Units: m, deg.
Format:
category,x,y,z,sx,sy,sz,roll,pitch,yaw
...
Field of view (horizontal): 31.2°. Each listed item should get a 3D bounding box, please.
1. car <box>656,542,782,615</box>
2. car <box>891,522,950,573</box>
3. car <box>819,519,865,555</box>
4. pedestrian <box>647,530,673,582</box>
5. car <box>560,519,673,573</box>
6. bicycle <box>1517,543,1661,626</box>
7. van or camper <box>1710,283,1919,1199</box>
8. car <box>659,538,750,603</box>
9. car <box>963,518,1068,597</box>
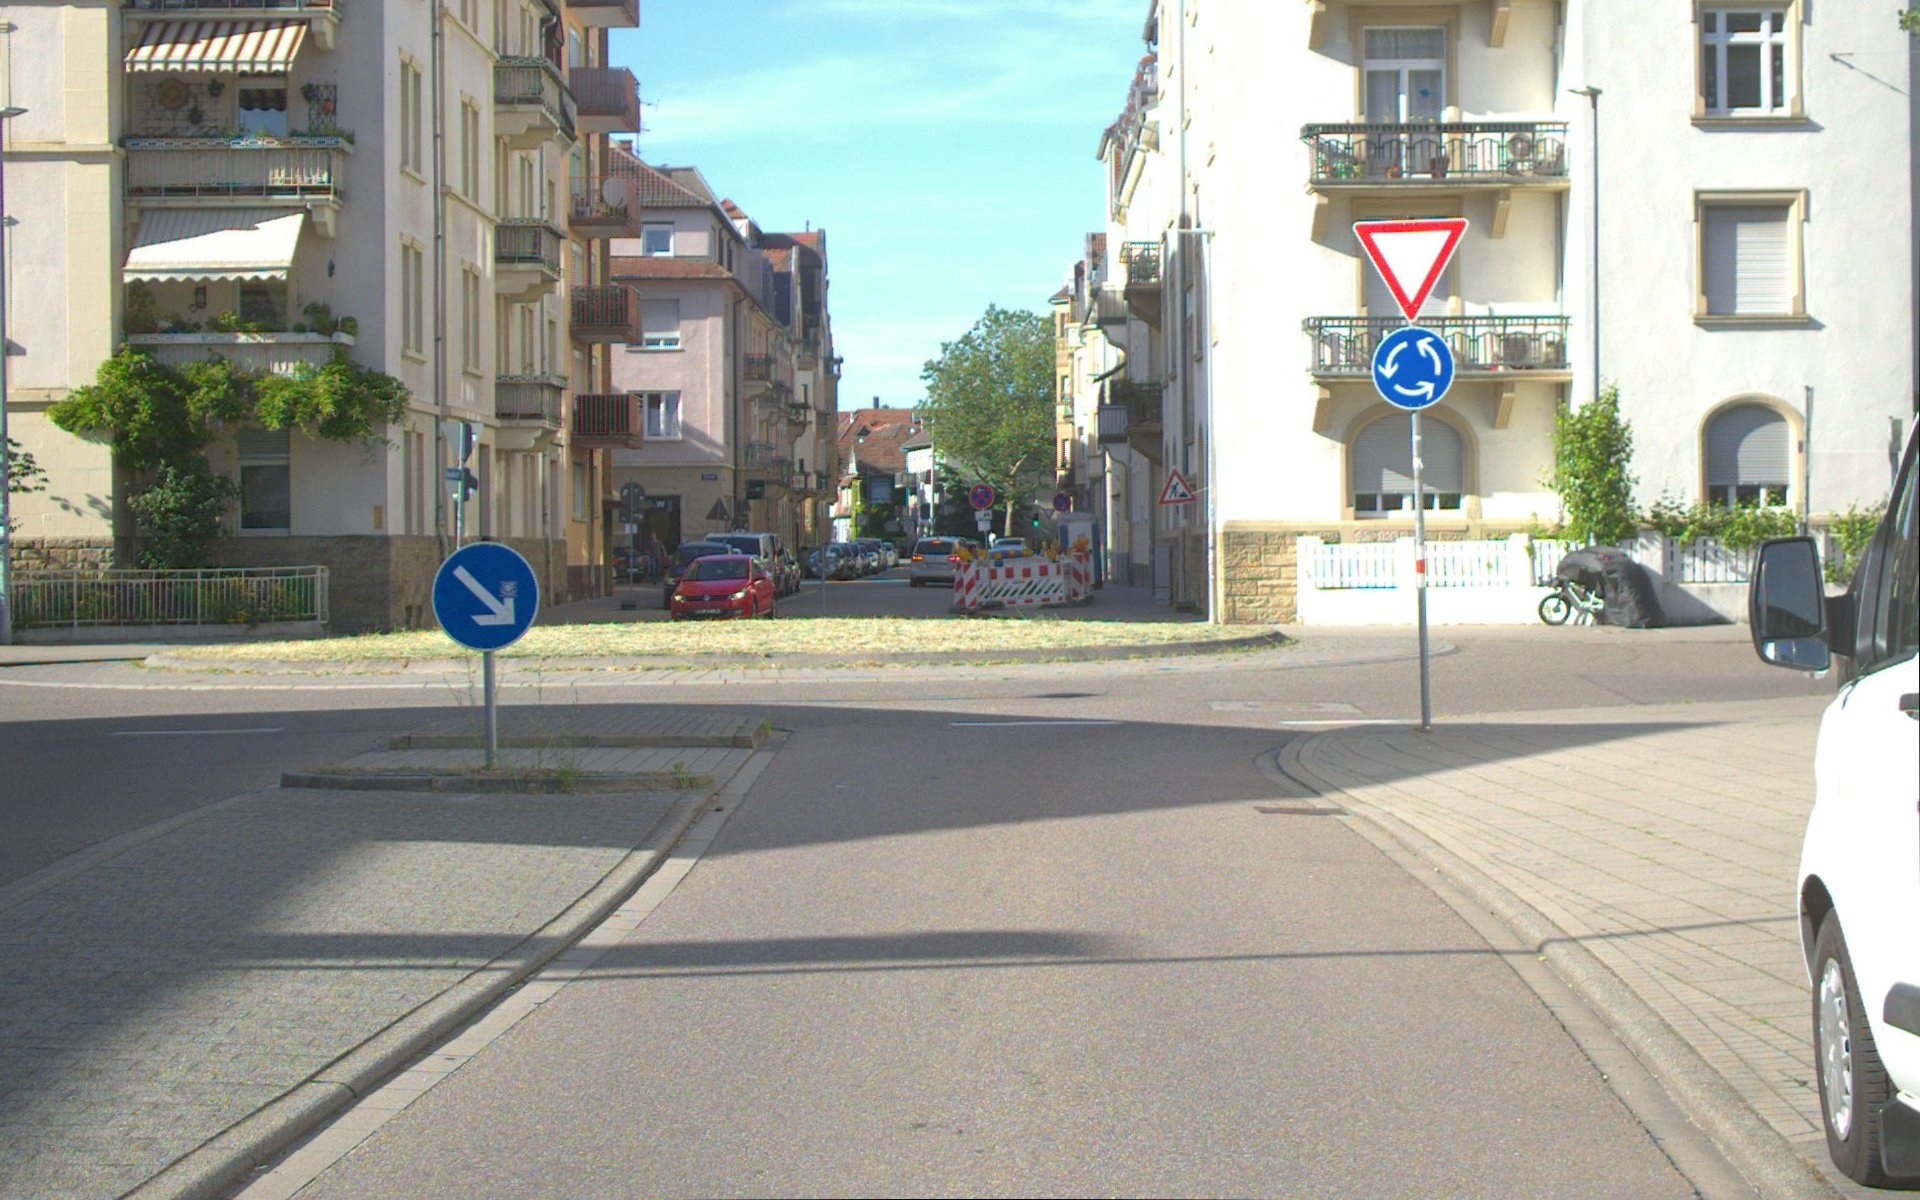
category,x,y,z,sx,sy,sz,roll,pitch,yaw
car,-4.813,-0.413,69.211,1.741,1.349,3.668,-1,-2,9
car,-1.362,-1.834,118.971,1.993,1.733,4.000,0,1,-1
car,-5.341,-2.882,156.489,1.993,1.623,4.000,0,1,-1
pedestrian,-10.220,-1.502,117.154,0.799,1.744,0.845,0,1,2
car,-12.935,-2.023,129.521,3.901,2.007,1.763,0,1,8
bicycle,10.034,-0.240,54.834,2.168,1.264,0.762,-1,-2,18
van or camper,2.813,0.348,6.161,2.020,1.940,4.703,-2,1,2
car,-6.133,-0.722,82.973,1.993,1.527,4.000,0,1,-1
car,1.340,-1.029,82.060,2.431,1.805,4.723,0,1,1
